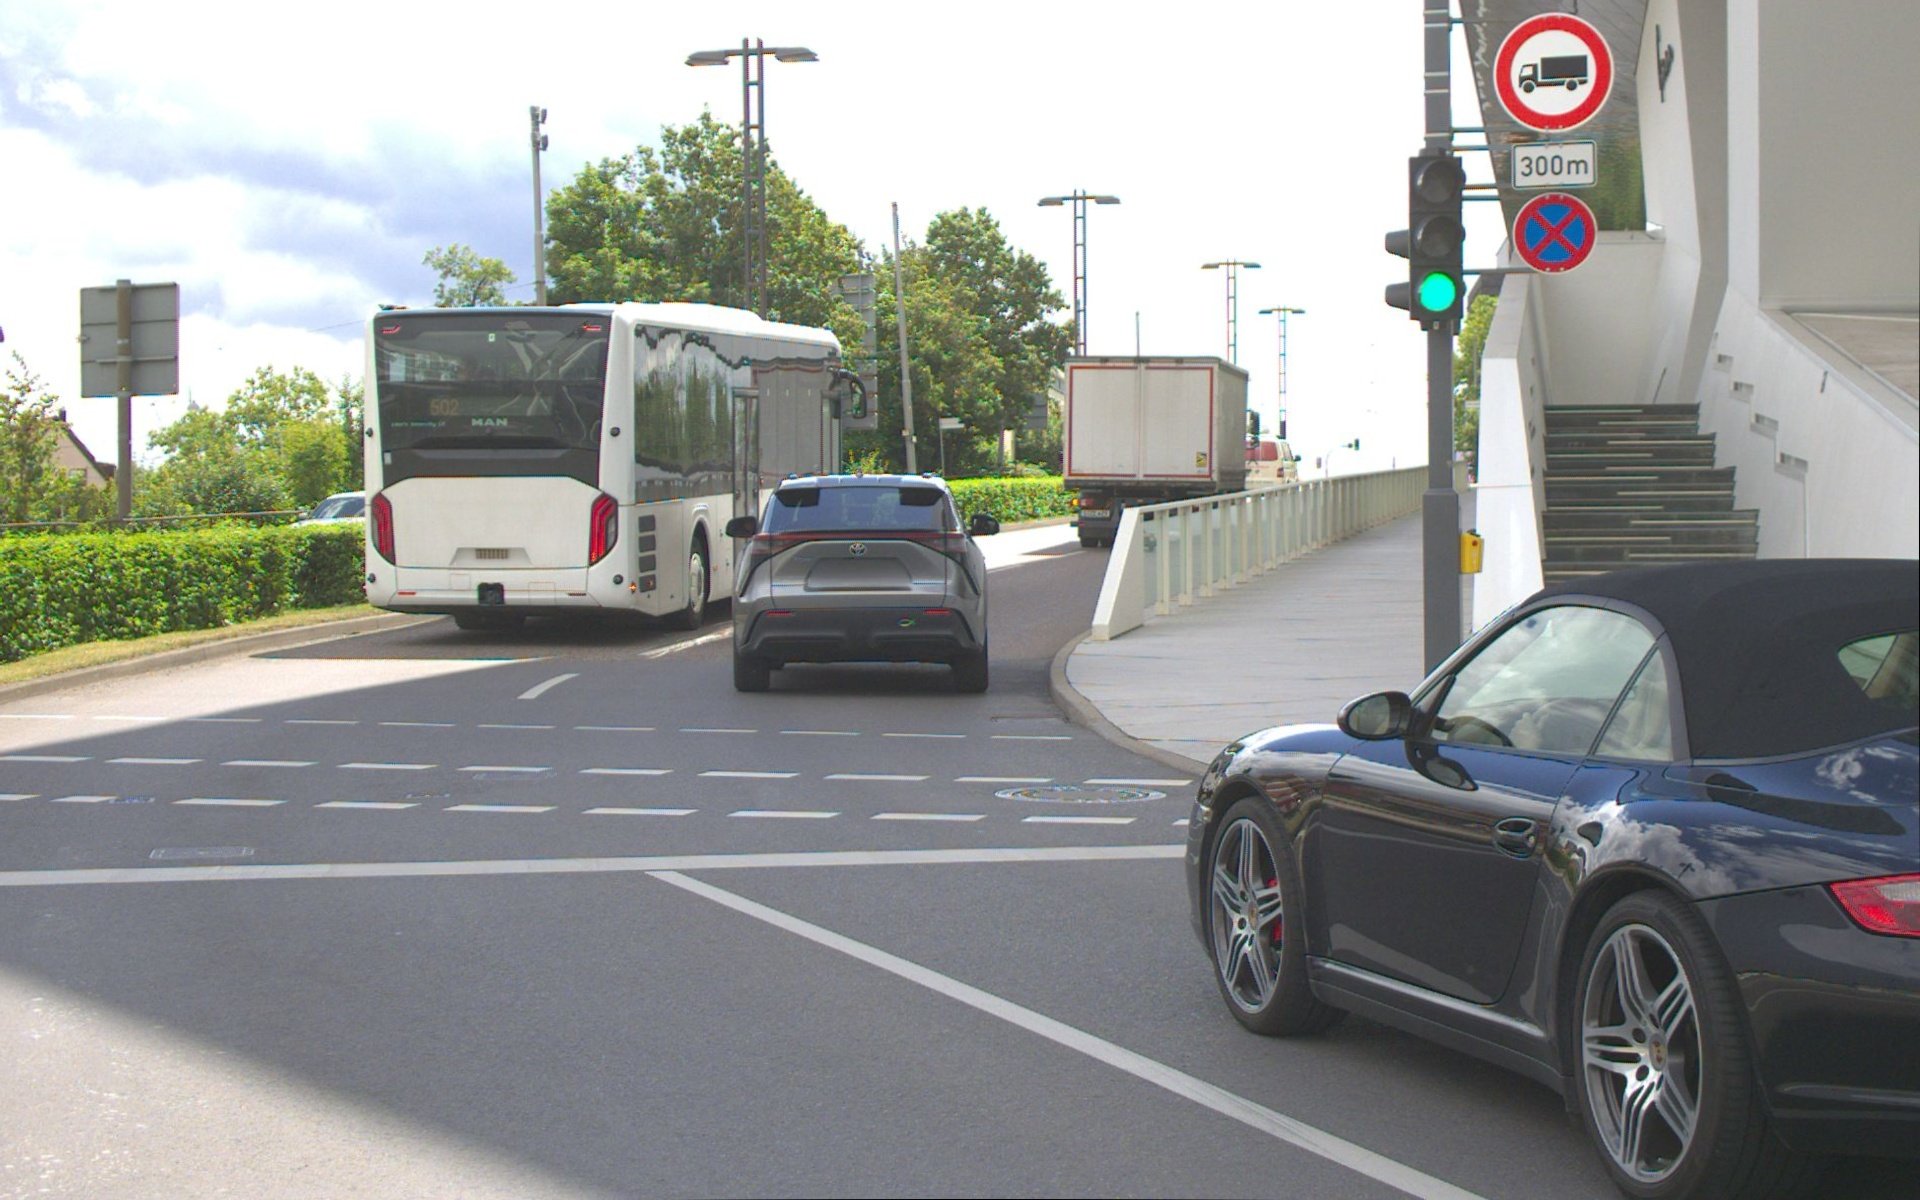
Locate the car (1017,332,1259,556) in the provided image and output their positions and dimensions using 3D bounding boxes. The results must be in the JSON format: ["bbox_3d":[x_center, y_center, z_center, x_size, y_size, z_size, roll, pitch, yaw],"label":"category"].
[{"bbox_3d":[3.311,-2.617,60.929,3.336,3.492,9.338,2,0,8],"label":"car"}]

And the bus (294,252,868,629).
[{"bbox_3d":[-3.626,-1.747,37.207,3.073,3.350,12.220,1,3,9],"label":"bus"}]

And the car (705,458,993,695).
[{"bbox_3d":[-0.769,-0.248,26.109,1.993,1.631,4.001,1,2,0],"label":"car"}]

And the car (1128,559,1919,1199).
[{"bbox_3d":[1.859,0.606,8.067,1.833,1.321,4.001,-1,2,-14],"label":"car"}]

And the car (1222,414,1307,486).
[{"bbox_3d":[8.930,-4.372,100.531,1.994,1.897,3.998,2,0,11],"label":"car"}]
